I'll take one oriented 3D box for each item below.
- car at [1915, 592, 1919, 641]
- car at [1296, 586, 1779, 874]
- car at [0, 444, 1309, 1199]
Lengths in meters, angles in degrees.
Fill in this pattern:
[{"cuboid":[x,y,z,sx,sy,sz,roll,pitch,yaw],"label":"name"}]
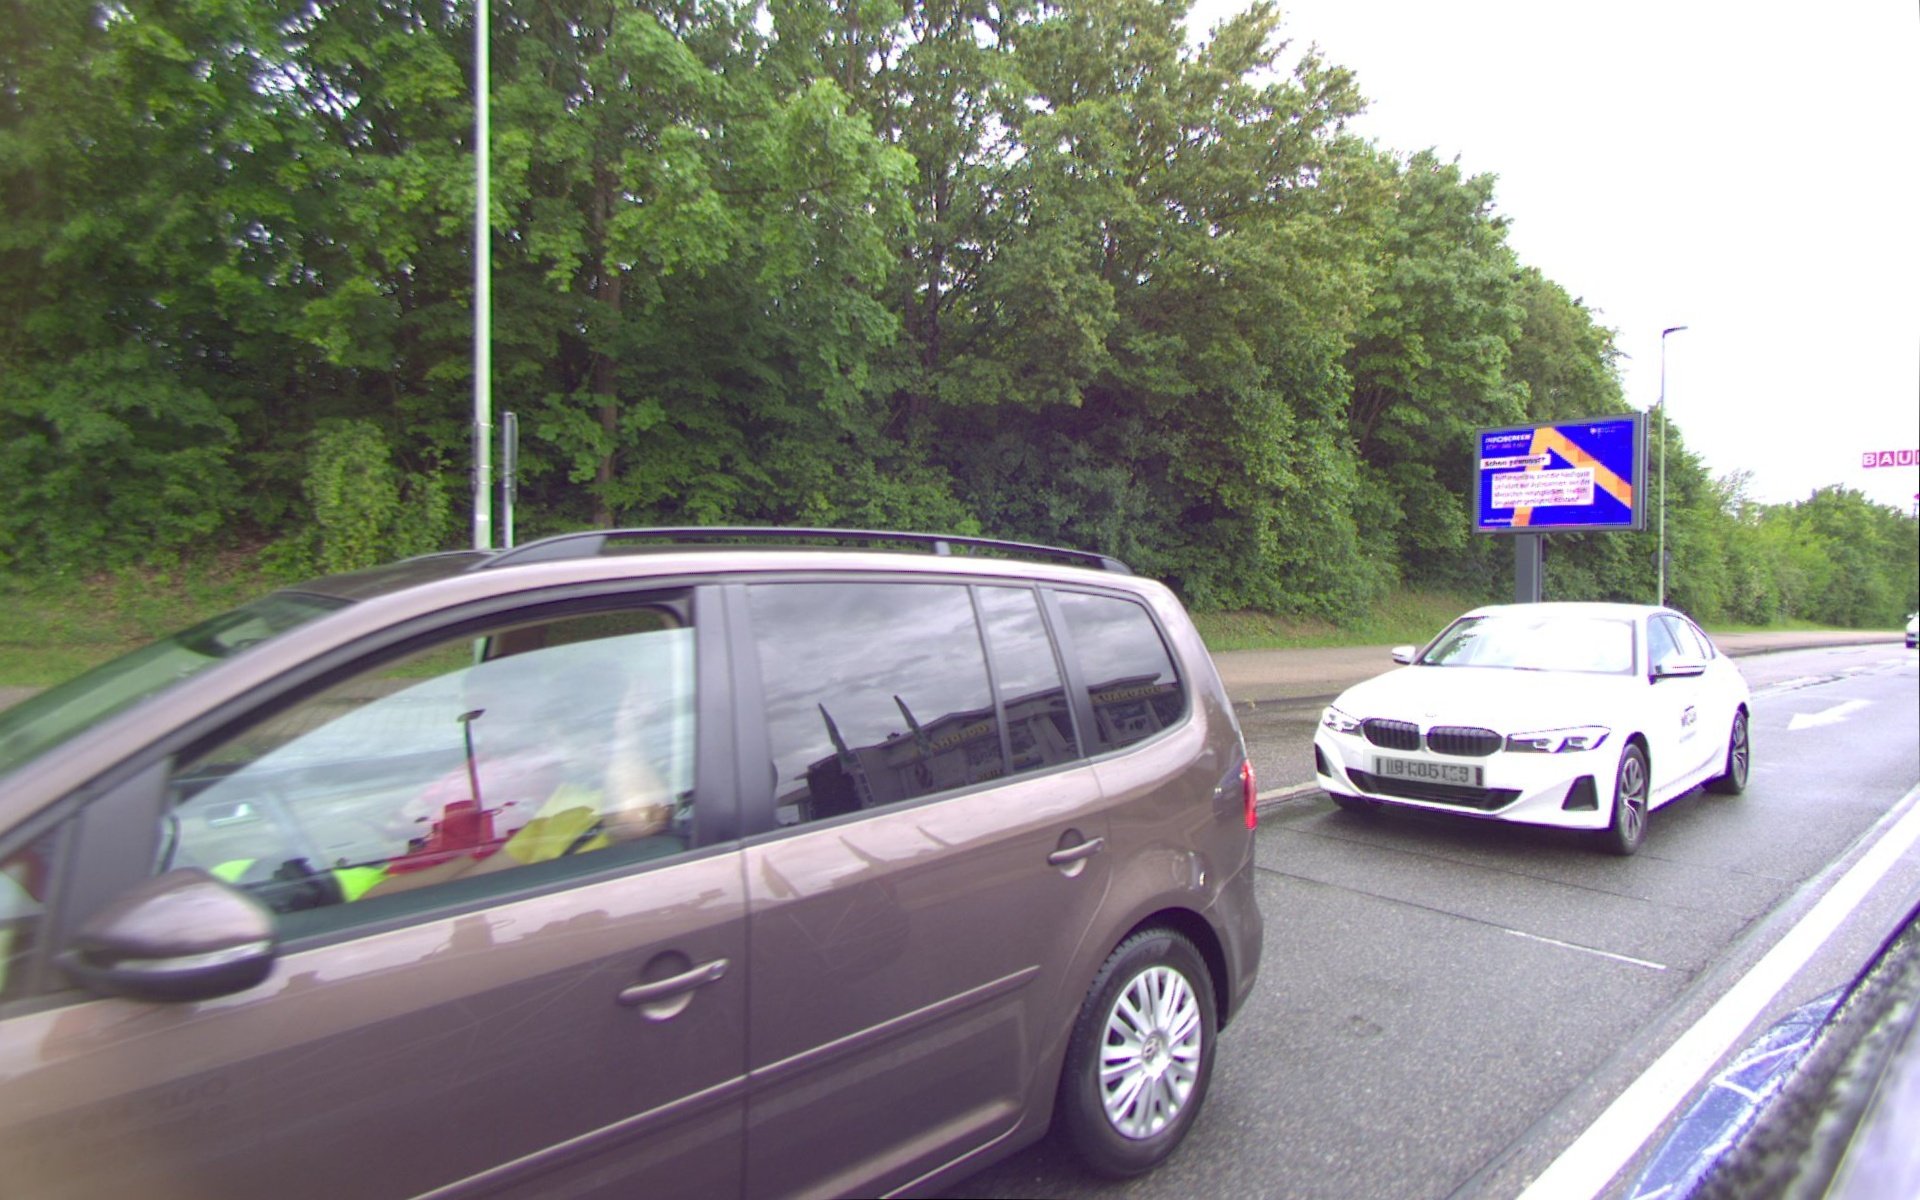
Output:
[{"cuboid":[36.809,0.604,37.248,4.241,1.749,1.997,0,1,-41],"label":"car"},{"cuboid":[4.479,0.648,7.480,4.600,1.475,1.782,-1,1,-42],"label":"car"},{"cuboid":[-1.051,0.626,2.278,3.911,1.629,1.750,-1,1,-41],"label":"car"}]
